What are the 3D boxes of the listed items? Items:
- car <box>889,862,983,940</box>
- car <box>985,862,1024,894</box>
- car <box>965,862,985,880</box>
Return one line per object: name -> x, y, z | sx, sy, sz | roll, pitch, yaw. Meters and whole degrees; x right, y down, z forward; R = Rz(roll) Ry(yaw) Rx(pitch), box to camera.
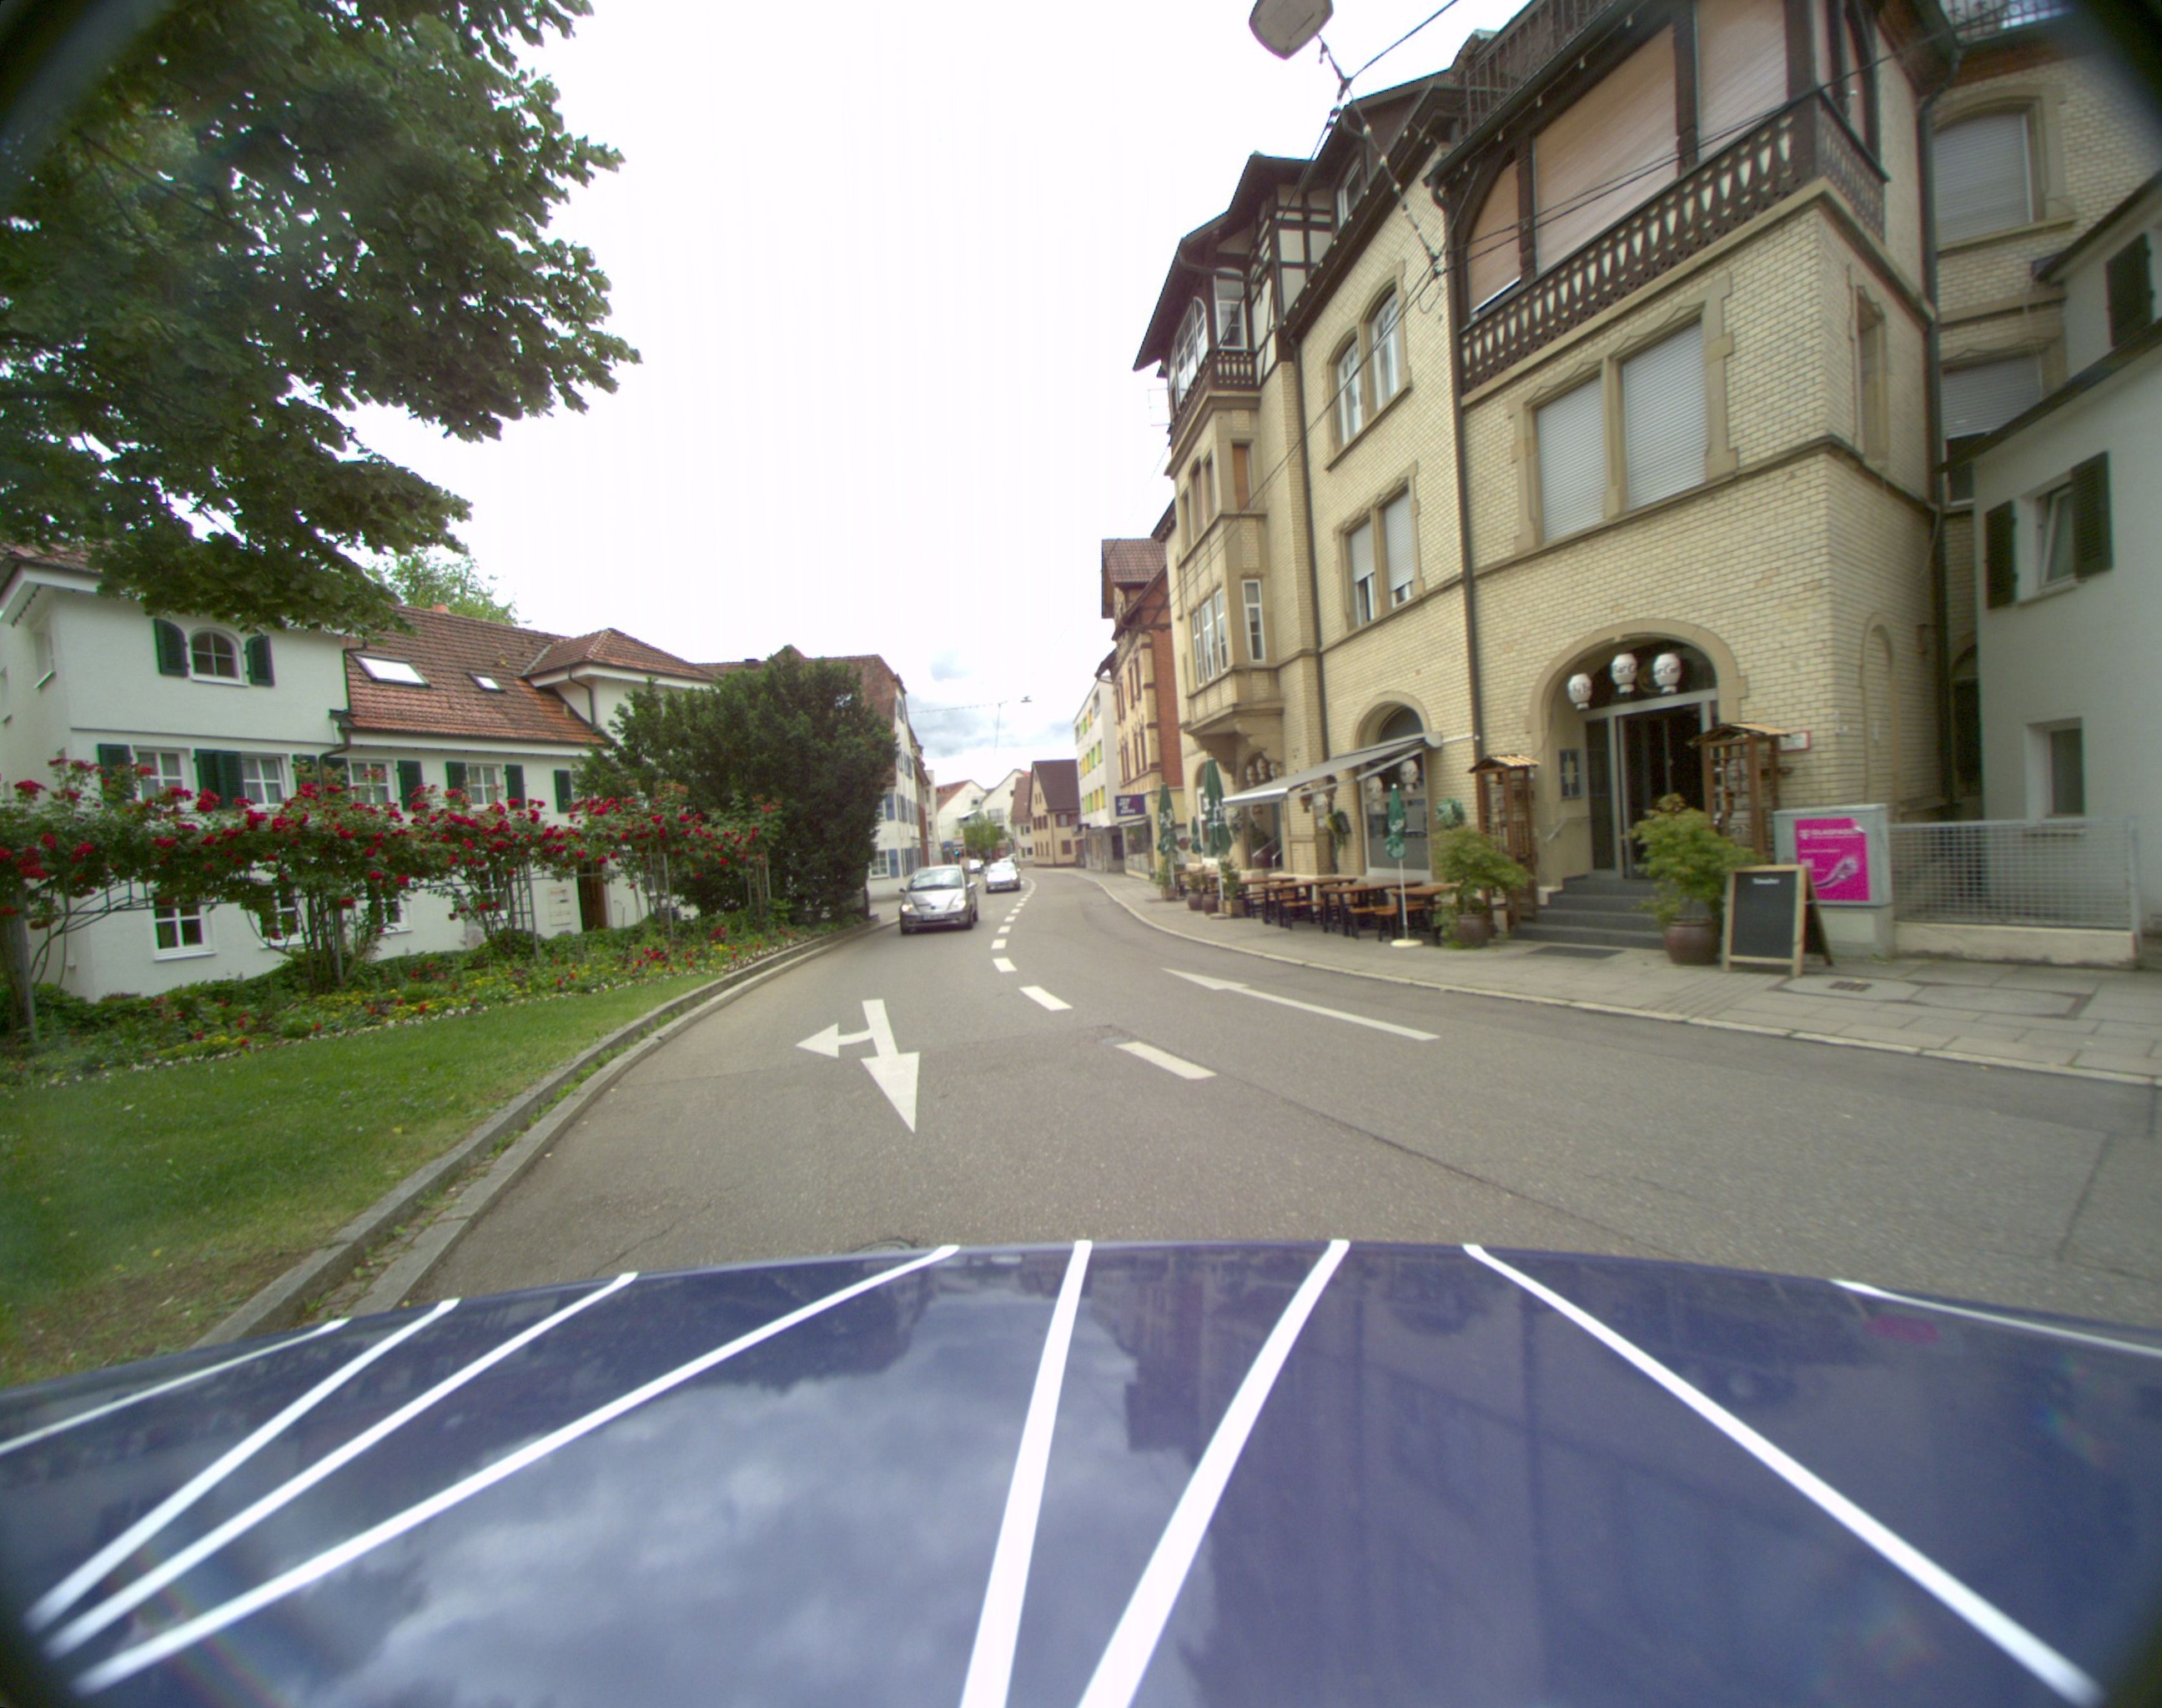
car -> -3.609, 1.101, 19.617 | 1.895, 1.618, 3.998 | -4, 1, -5
car -> -3.908, 1.184, 39.332 | 1.755, 1.347, 3.998 | -5, 1, -4
car -> -11.796, 1.840, 84.332 | 2.002, 1.618, 3.996 | -6, 2, -9
